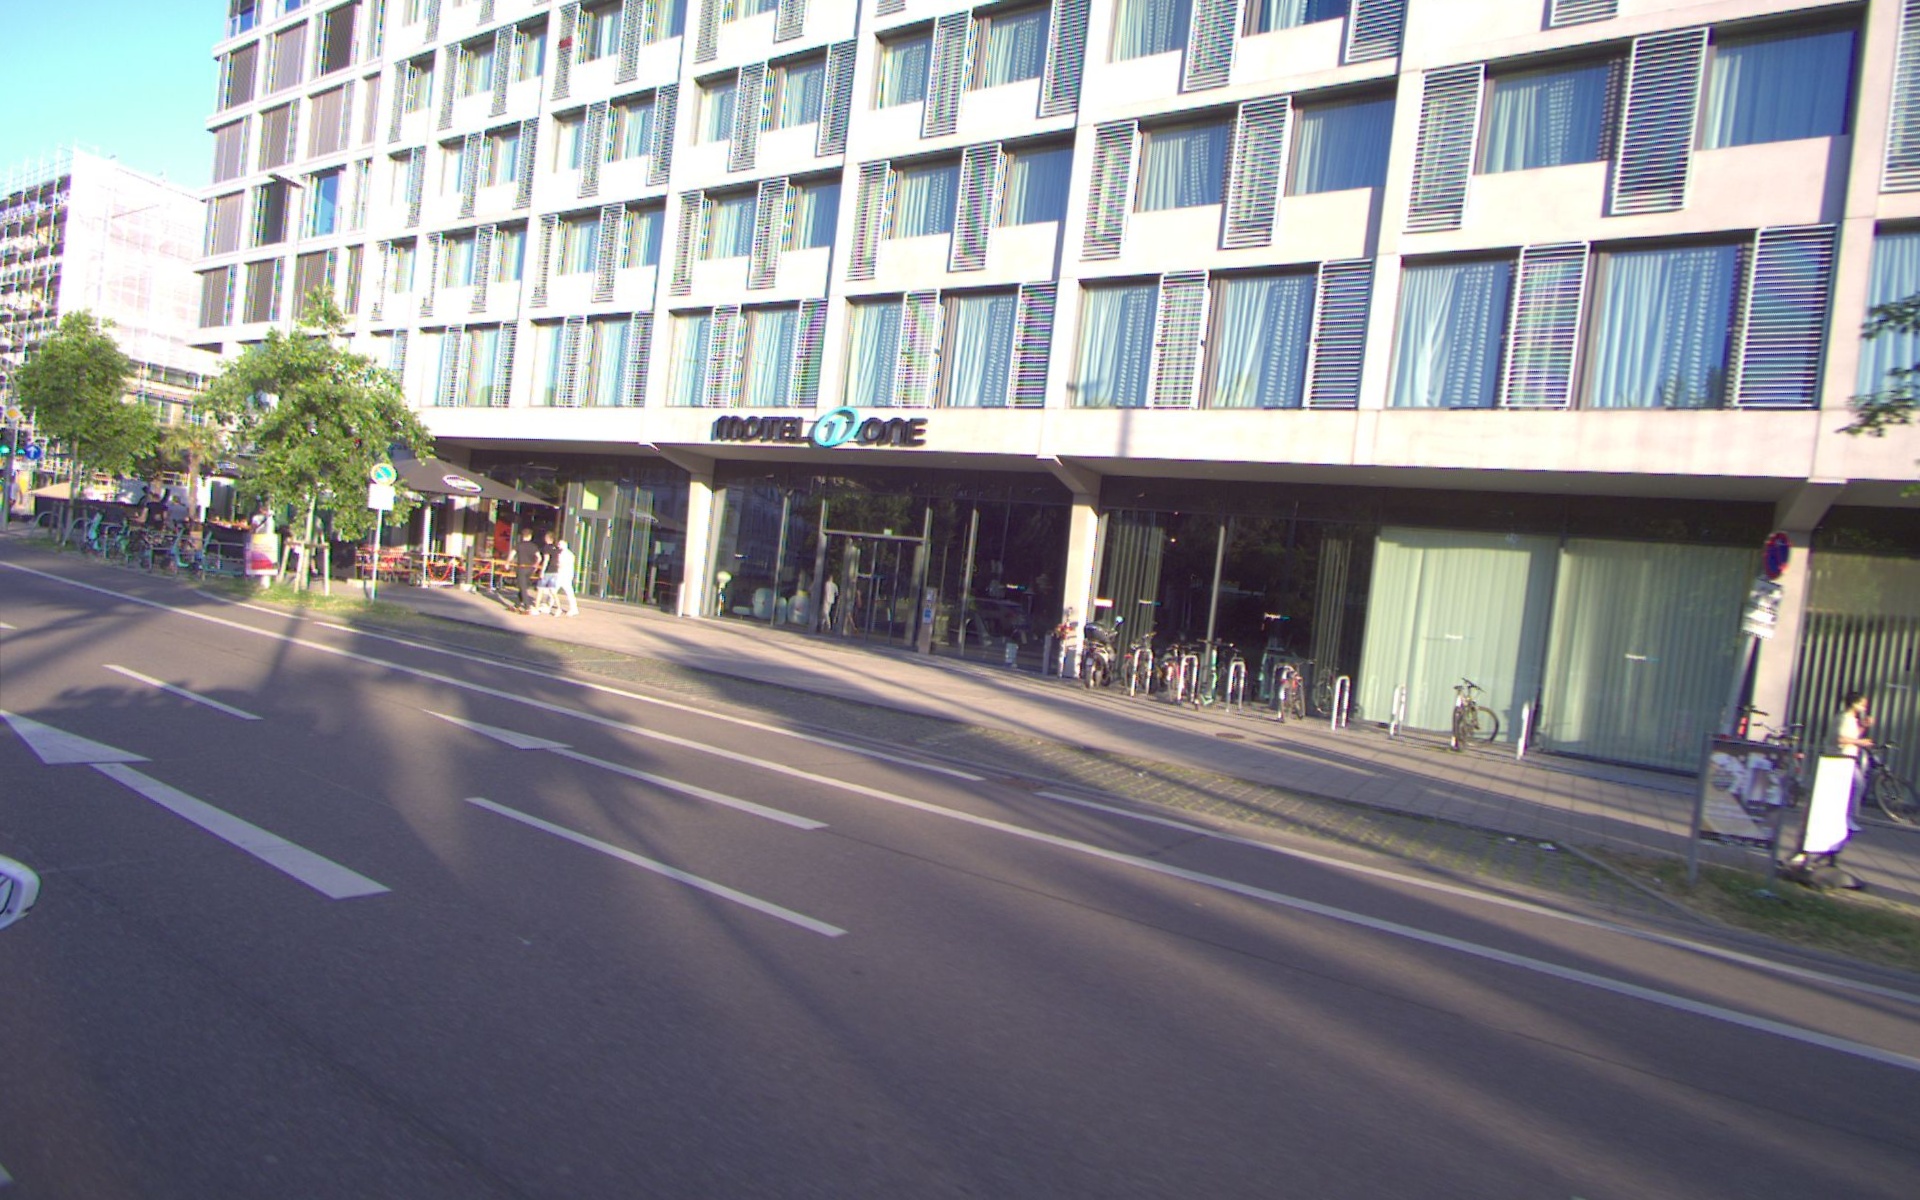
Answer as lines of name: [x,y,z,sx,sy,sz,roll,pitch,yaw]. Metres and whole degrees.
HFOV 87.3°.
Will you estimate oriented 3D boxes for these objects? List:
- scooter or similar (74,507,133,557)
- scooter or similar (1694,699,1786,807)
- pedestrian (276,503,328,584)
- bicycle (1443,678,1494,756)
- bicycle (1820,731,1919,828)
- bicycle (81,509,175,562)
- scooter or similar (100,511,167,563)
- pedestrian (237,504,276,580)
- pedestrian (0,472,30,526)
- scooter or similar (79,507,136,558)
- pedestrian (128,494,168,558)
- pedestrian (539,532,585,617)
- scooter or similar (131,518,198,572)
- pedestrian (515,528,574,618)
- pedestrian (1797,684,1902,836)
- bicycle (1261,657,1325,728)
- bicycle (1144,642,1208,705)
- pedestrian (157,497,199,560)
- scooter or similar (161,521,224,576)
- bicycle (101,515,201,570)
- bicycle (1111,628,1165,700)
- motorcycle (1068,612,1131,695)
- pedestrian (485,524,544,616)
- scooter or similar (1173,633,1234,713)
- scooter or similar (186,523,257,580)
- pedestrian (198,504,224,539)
scooter or similar: [-23.623,-1.869,27.743,0.588,1.240,1.052,7,3,28]
scooter or similar: [10.916,2.088,14.143,0.610,1.198,2.373,8,2,31]
pedestrian: [-16.559,-1.420,25.314,0.854,1.913,0.822,6,2,40]
bicycle: [7.865,1.767,15.521,0.541,0.999,1.701,8,3,29]
bicycle: [12.240,2.358,13.381,0.609,0.970,2.019,7,2,26]
bicycle: [-21.793,-1.686,26.394,0.558,1.210,1.795,7,3,27]
scooter or similar: [-21.388,-1.615,26.049,0.472,1.218,1.210,7,3,27]
pedestrian: [-17.419,-1.437,24.902,0.574,1.810,0.818,3,3,-45]
pedestrian: [-34.950,-3.725,37.065,0.667,1.872,0.768,8,2,32]
scooter or similar: [-22.783,-1.793,26.901,0.542,1.240,1.058,8,3,41]
pedestrian: [-23.315,-2.127,28.890,0.678,1.725,0.653,8,3,32]
pedestrian: [-9.064,-0.580,22.911,0.766,1.837,0.617,8,4,41]
scooter or similar: [-19.470,-1.327,24.624,0.501,1.207,1.155,6,2,34]
pedestrian: [-9.130,-0.592,22.089,0.927,1.849,0.754,8,3,41]
pedestrian: [10.465,1.858,11.858,0.632,1.641,0.576,8,3,29]
bicycle: [5.606,1.517,16.880,0.556,1.023,1.886,7,3,30]
bicycle: [3.879,1.295,17.988,0.541,0.999,1.701,8,2,29]
pedestrian: [-22.935,-2.097,29.513,0.748,1.758,0.685,8,4,32]
scooter or similar: [-18.668,-1.255,24.473,1.123,1.230,0.525,3,2,-43]
bicycle: [-20.361,-1.438,25.354,0.598,1.198,1.847,8,3,31]
bicycle: [3.300,1.154,18.598,0.600,1.170,1.610,7,2,20]
motorcycle: [2.660,0.958,18.976,0.659,1.405,2.117,8,2,18]
pedestrian: [-9.555,-0.634,21.556,0.927,1.874,0.741,8,4,41]
scooter or similar: [4.203,1.232,17.299,0.598,1.250,1.269,8,3,28]
scooter or similar: [-17.369,-1.136,23.676,1.283,1.235,0.530,4,3,-34]
pedestrian: [-30.644,-3.224,41.152,0.743,1.337,0.705,2,5,-45]
